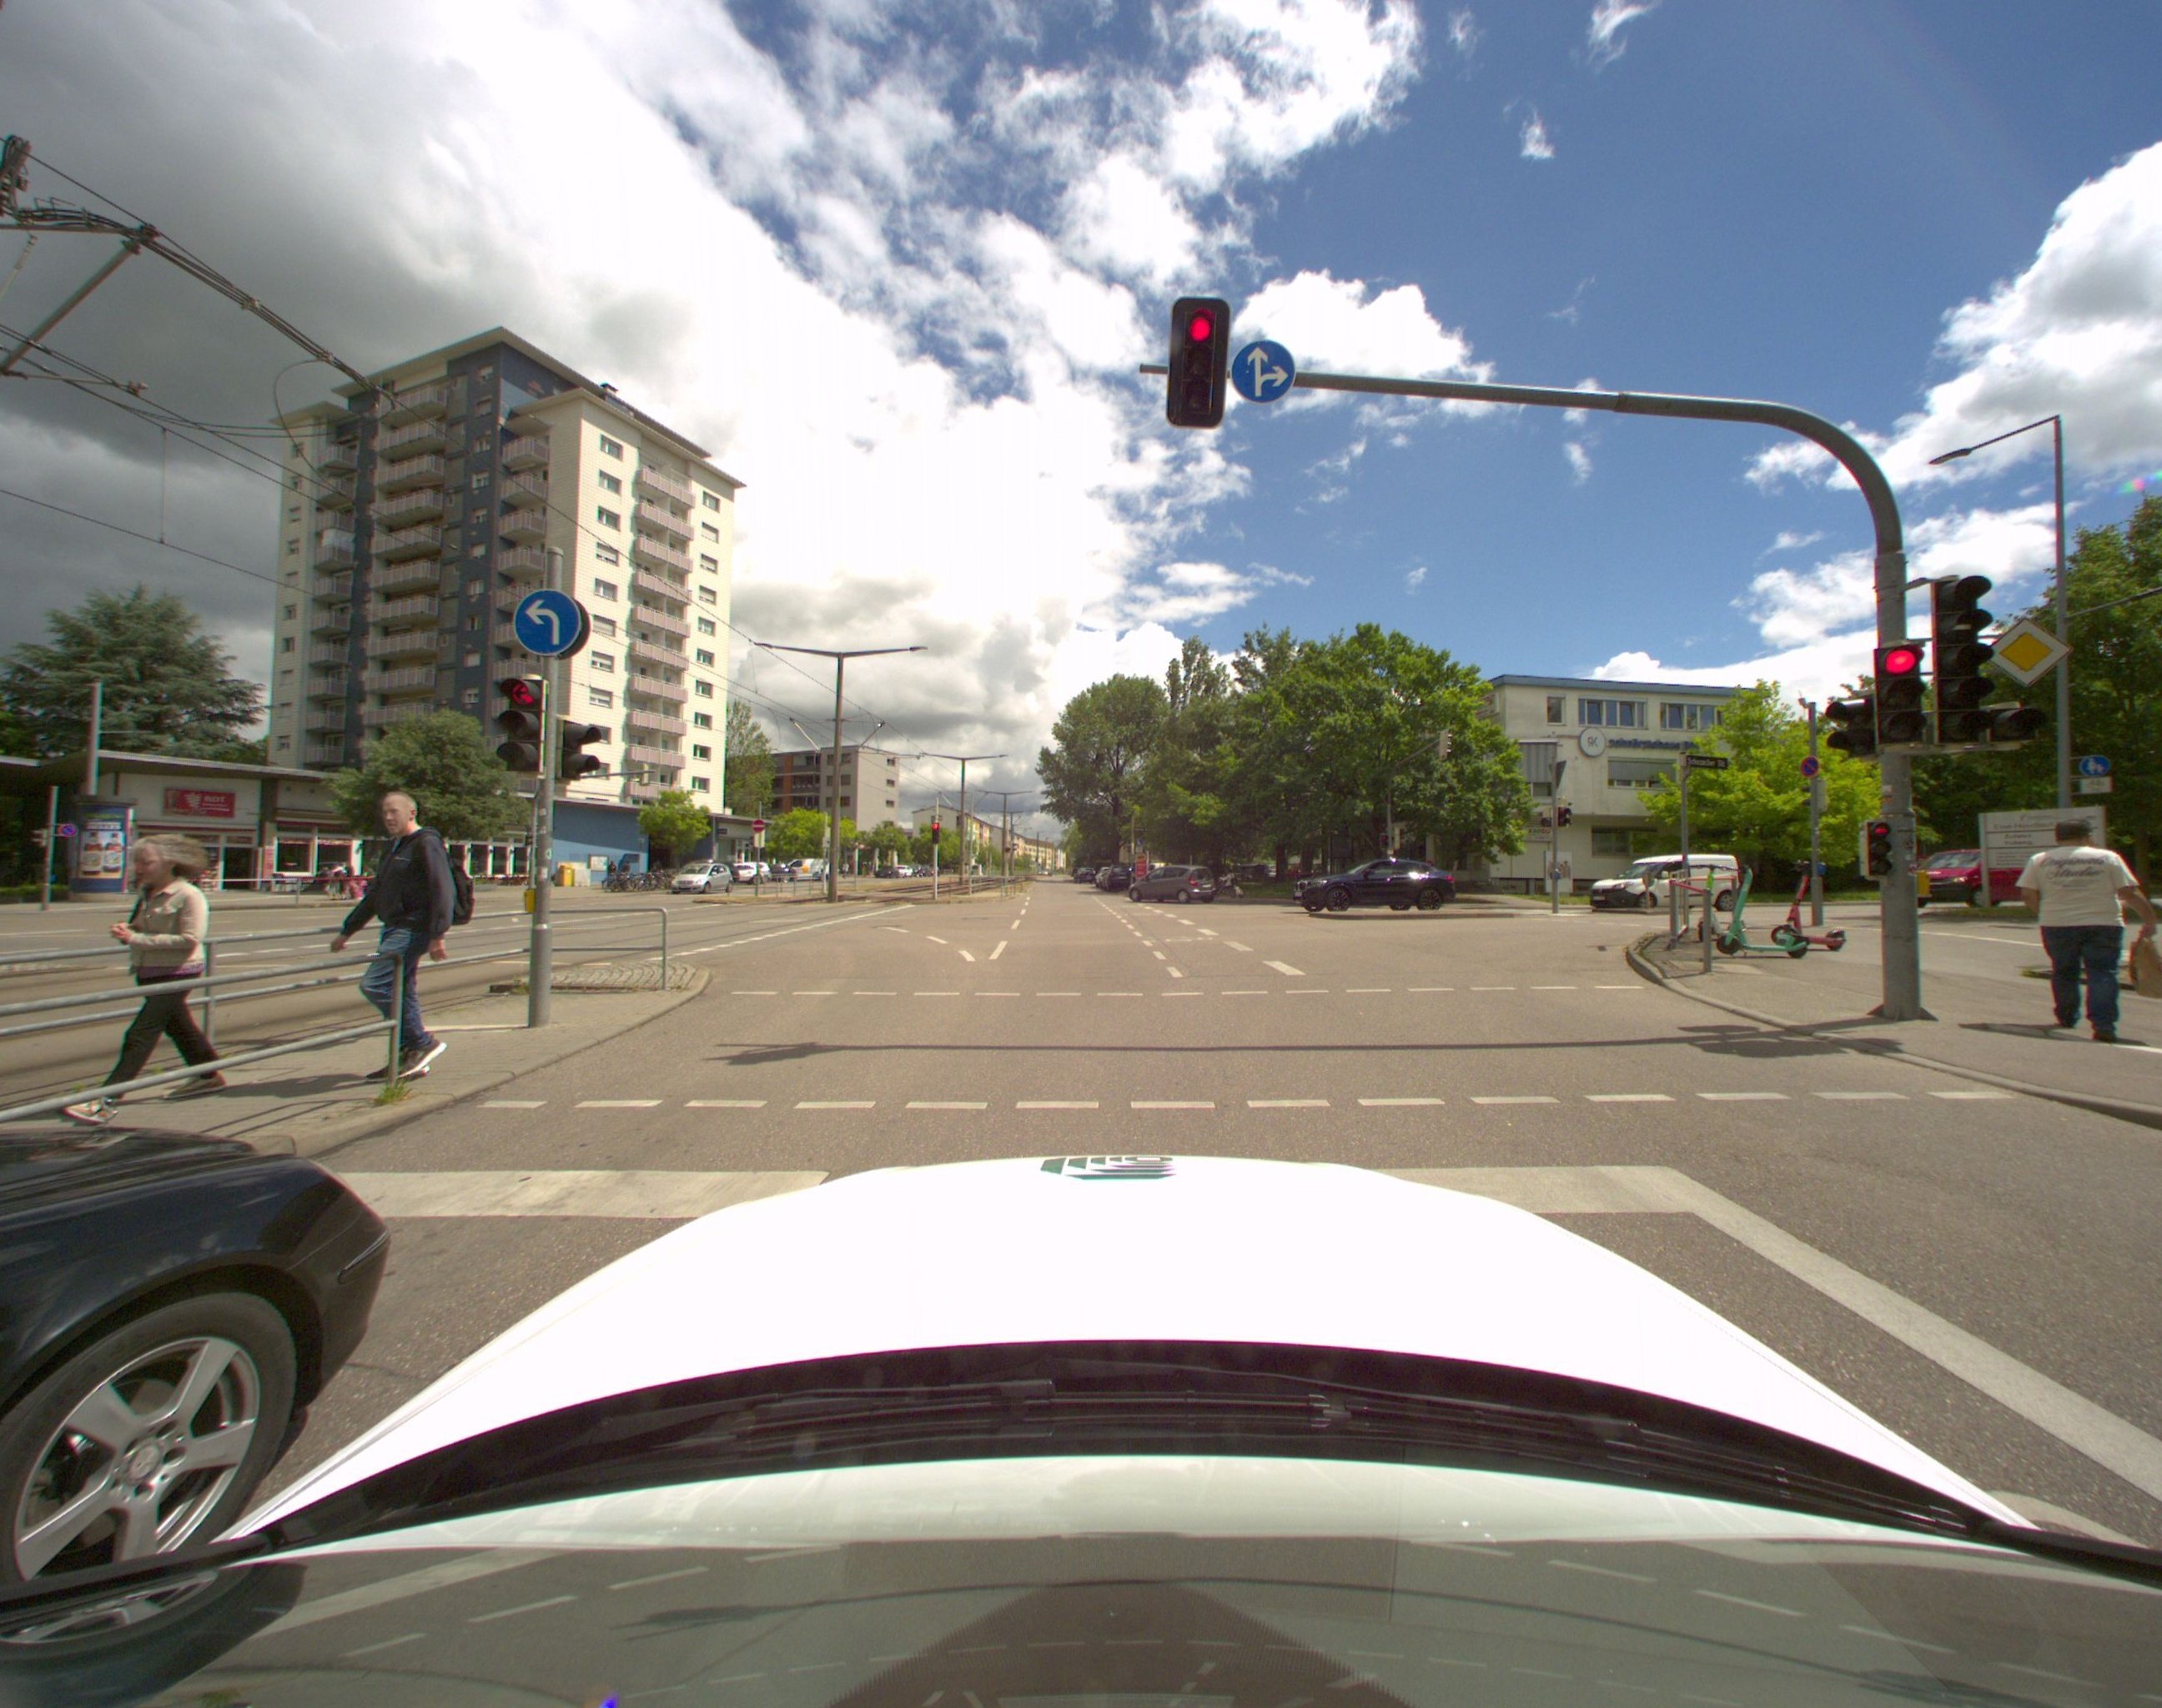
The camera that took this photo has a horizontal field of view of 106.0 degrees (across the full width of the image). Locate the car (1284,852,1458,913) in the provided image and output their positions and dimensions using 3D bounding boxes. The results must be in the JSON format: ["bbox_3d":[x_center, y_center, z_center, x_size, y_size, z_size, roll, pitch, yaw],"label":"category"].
[{"bbox_3d":[8.623,0.804,24.391,4.558,1.717,1.993,0,0,-10],"label":"car"}]

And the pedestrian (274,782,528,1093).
[{"bbox_3d":[-4.566,0.522,5.559,0.963,1.942,0.896,0,0,-3],"label":"pedestrian"}]

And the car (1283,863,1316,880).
[{"bbox_3d":[20.571,1.638,76.674,1.728,1.595,3.992,0,0,-5],"label":"car"}]

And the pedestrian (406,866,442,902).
[{"bbox_3d":[-30.692,1.394,38.047,0.957,1.659,1.002,-1,-1,27],"label":"pedestrian"}]

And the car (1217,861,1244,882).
[{"bbox_3d":[13.623,1.564,74.425,1.626,1.811,4.030,0,0,-1],"label":"car"}]

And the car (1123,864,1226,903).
[{"bbox_3d":[3.895,1.191,34.276,2.012,1.555,3.871,0,-1,-45],"label":"car"}]

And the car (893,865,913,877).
[{"bbox_3d":[-21.666,2.066,99.180,1.758,1.395,3.993,0,0,-5],"label":"car"}]

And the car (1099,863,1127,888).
[{"bbox_3d":[2.330,1.562,59.334,1.986,1.684,4.001,0,-1,2],"label":"car"}]

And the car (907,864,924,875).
[{"bbox_3d":[-21.453,2.043,105.772,1.758,1.395,3.993,0,0,-5],"label":"car"}]

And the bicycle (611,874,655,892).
[{"bbox_3d":[-23.270,1.508,42.313,1.943,0.935,0.494,0,-1,-5],"label":"bicycle"}]

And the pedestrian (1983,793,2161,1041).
[{"bbox_3d":[7.880,0.459,6.397,0.869,1.808,0.739,0,0,-13],"label":"pedestrian"}]

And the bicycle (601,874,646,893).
[{"bbox_3d":[-23.209,1.497,41.341,1.943,0.935,0.494,0,-1,-5],"label":"bicycle"}]

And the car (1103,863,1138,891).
[{"bbox_3d":[2.489,1.456,51.879,2.144,1.684,4.001,0,-1,2],"label":"car"}]

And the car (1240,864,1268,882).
[{"bbox_3d":[15.870,1.695,74.943,1.626,1.573,4.030,0,0,-1],"label":"car"}]

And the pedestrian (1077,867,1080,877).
[{"bbox_3d":[-0.466,2.996,138.061,0.477,1.637,0.454,0,-1,1],"label":"pedestrian"}]

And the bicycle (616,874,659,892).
[{"bbox_3d":[-23.294,1.513,42.790,1.943,0.935,0.494,0,-1,-5],"label":"bicycle"}]

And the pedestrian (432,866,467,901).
[{"bbox_3d":[-30.336,1.402,39.138,0.957,1.659,1.002,-1,-1,27],"label":"pedestrian"}]

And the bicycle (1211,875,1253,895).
[{"bbox_3d":[6.892,1.410,37.177,0.798,0.819,1.787,1,-1,-39],"label":"bicycle"}]

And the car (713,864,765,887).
[{"bbox_3d":[-24.635,1.487,58.633,4.165,1.570,1.973,-1,-1,45],"label":"car"}]

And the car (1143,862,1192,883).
[{"bbox_3d":[7.768,1.637,73.288,4.001,1.823,1.766,0,-1,-21],"label":"car"}]

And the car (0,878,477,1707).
[{"bbox_3d":[-2.748,0.792,0.176,1.721,1.461,4.546,0,0,2],"label":"car"}]

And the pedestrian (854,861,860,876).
[{"bbox_3d":[-25.086,1.635,91.260,0.547,1.716,0.404,0,-1,-8],"label":"pedestrian"}]

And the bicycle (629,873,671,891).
[{"bbox_3d":[-23.250,1.524,43.938,1.943,0.935,0.494,0,-1,-5],"label":"bicycle"}]

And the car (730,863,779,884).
[{"bbox_3d":[-24.798,1.443,61.882,4.165,1.538,1.973,-1,-1,45],"label":"car"}]

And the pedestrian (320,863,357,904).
[{"bbox_3d":[-30.480,1.199,33.443,1.105,1.659,0.936,0,-2,-42],"label":"pedestrian"}]

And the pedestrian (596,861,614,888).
[{"bbox_3d":[-28.948,1.245,49.537,0.767,1.615,0.695,0,-1,-12],"label":"pedestrian"}]

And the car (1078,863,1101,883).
[{"bbox_3d":[0.808,1.705,74.533,1.986,1.684,4.002,0,0,2],"label":"car"}]

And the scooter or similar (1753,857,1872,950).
[{"bbox_3d":[10.232,0.676,11.403,1.225,1.240,0.555,2,0,-7],"label":"scooter or similar"}]

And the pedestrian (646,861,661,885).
[{"bbox_3d":[-29.610,1.323,56.386,0.767,1.615,0.695,0,-1,-12],"label":"pedestrian"}]

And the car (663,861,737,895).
[{"bbox_3d":[-19.812,1.219,42.572,1.930,1.693,3.874,0,0,2],"label":"car"}]

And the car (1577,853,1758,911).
[{"bbox_3d":[18.518,0.841,25.803,4.555,1.717,1.995,0,0,-8],"label":"car"}]

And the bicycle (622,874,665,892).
[{"bbox_3d":[-23.281,1.518,43.336,1.943,0.935,0.494,0,-1,-5],"label":"bicycle"}]

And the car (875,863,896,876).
[{"bbox_3d":[-22.004,1.695,91.776,1.758,1.395,3.993,0,0,-5],"label":"car"}]

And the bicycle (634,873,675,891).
[{"bbox_3d":[-23.276,1.530,44.429,1.943,0.935,0.494,0,-1,-5],"label":"bicycle"}]

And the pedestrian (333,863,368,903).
[{"bbox_3d":[-30.861,1.212,34.426,1.105,1.659,0.936,0,-2,-42],"label":"pedestrian"}]

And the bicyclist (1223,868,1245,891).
[{"bbox_3d":[6.986,1.142,37.133,0.798,1.022,0.628,1,-1,-41],"label":"bicyclist"}]

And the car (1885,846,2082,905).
[{"bbox_3d":[29.833,0.700,27.005,4.800,1.864,1.994,0,-2,-8],"label":"car"}]

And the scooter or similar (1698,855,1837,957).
[{"bbox_3d":[8.846,0.656,10.527,1.336,1.277,0.463,0,0,8],"label":"scooter or similar"}]

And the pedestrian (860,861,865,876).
[{"bbox_3d":[-25.132,1.646,93.659,0.547,1.716,0.667,0,-1,-8],"label":"pedestrian"}]

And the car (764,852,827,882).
[{"bbox_3d":[-24.685,1.090,70.205,2.848,2.479,6.641,0,-1,-42],"label":"car"}]

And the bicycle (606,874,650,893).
[{"bbox_3d":[-23.245,1.502,41.807,1.943,0.935,0.494,0,-1,-5],"label":"bicycle"}]

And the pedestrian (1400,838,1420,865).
[{"bbox_3d":[20.021,-0.141,49.516,0.768,1.643,0.904,0,-1,-11],"label":"pedestrian"}]

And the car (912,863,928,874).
[{"bbox_3d":[-21.807,1.998,110.349,1.758,1.395,3.993,0,0,-5],"label":"car"}]

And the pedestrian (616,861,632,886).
[{"bbox_3d":[-30.168,1.300,53.760,0.767,1.615,0.695,0,-1,-12],"label":"pedestrian"}]

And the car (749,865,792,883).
[{"bbox_3d":[-24.906,1.564,65.268,1.800,1.420,4.166,0,-1,-43],"label":"car"}]

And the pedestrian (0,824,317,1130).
[{"bbox_3d":[-5.580,0.687,4.993,0.863,1.674,0.958,-1,-1,7],"label":"pedestrian"}]

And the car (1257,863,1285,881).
[{"bbox_3d":[17.760,1.657,76.307,1.626,1.595,3.998,0,0,-1],"label":"car"}]

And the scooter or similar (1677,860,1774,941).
[{"bbox_3d":[9.748,0.688,12.316,1.360,1.156,0.540,1,0,-23],"label":"scooter or similar"}]
